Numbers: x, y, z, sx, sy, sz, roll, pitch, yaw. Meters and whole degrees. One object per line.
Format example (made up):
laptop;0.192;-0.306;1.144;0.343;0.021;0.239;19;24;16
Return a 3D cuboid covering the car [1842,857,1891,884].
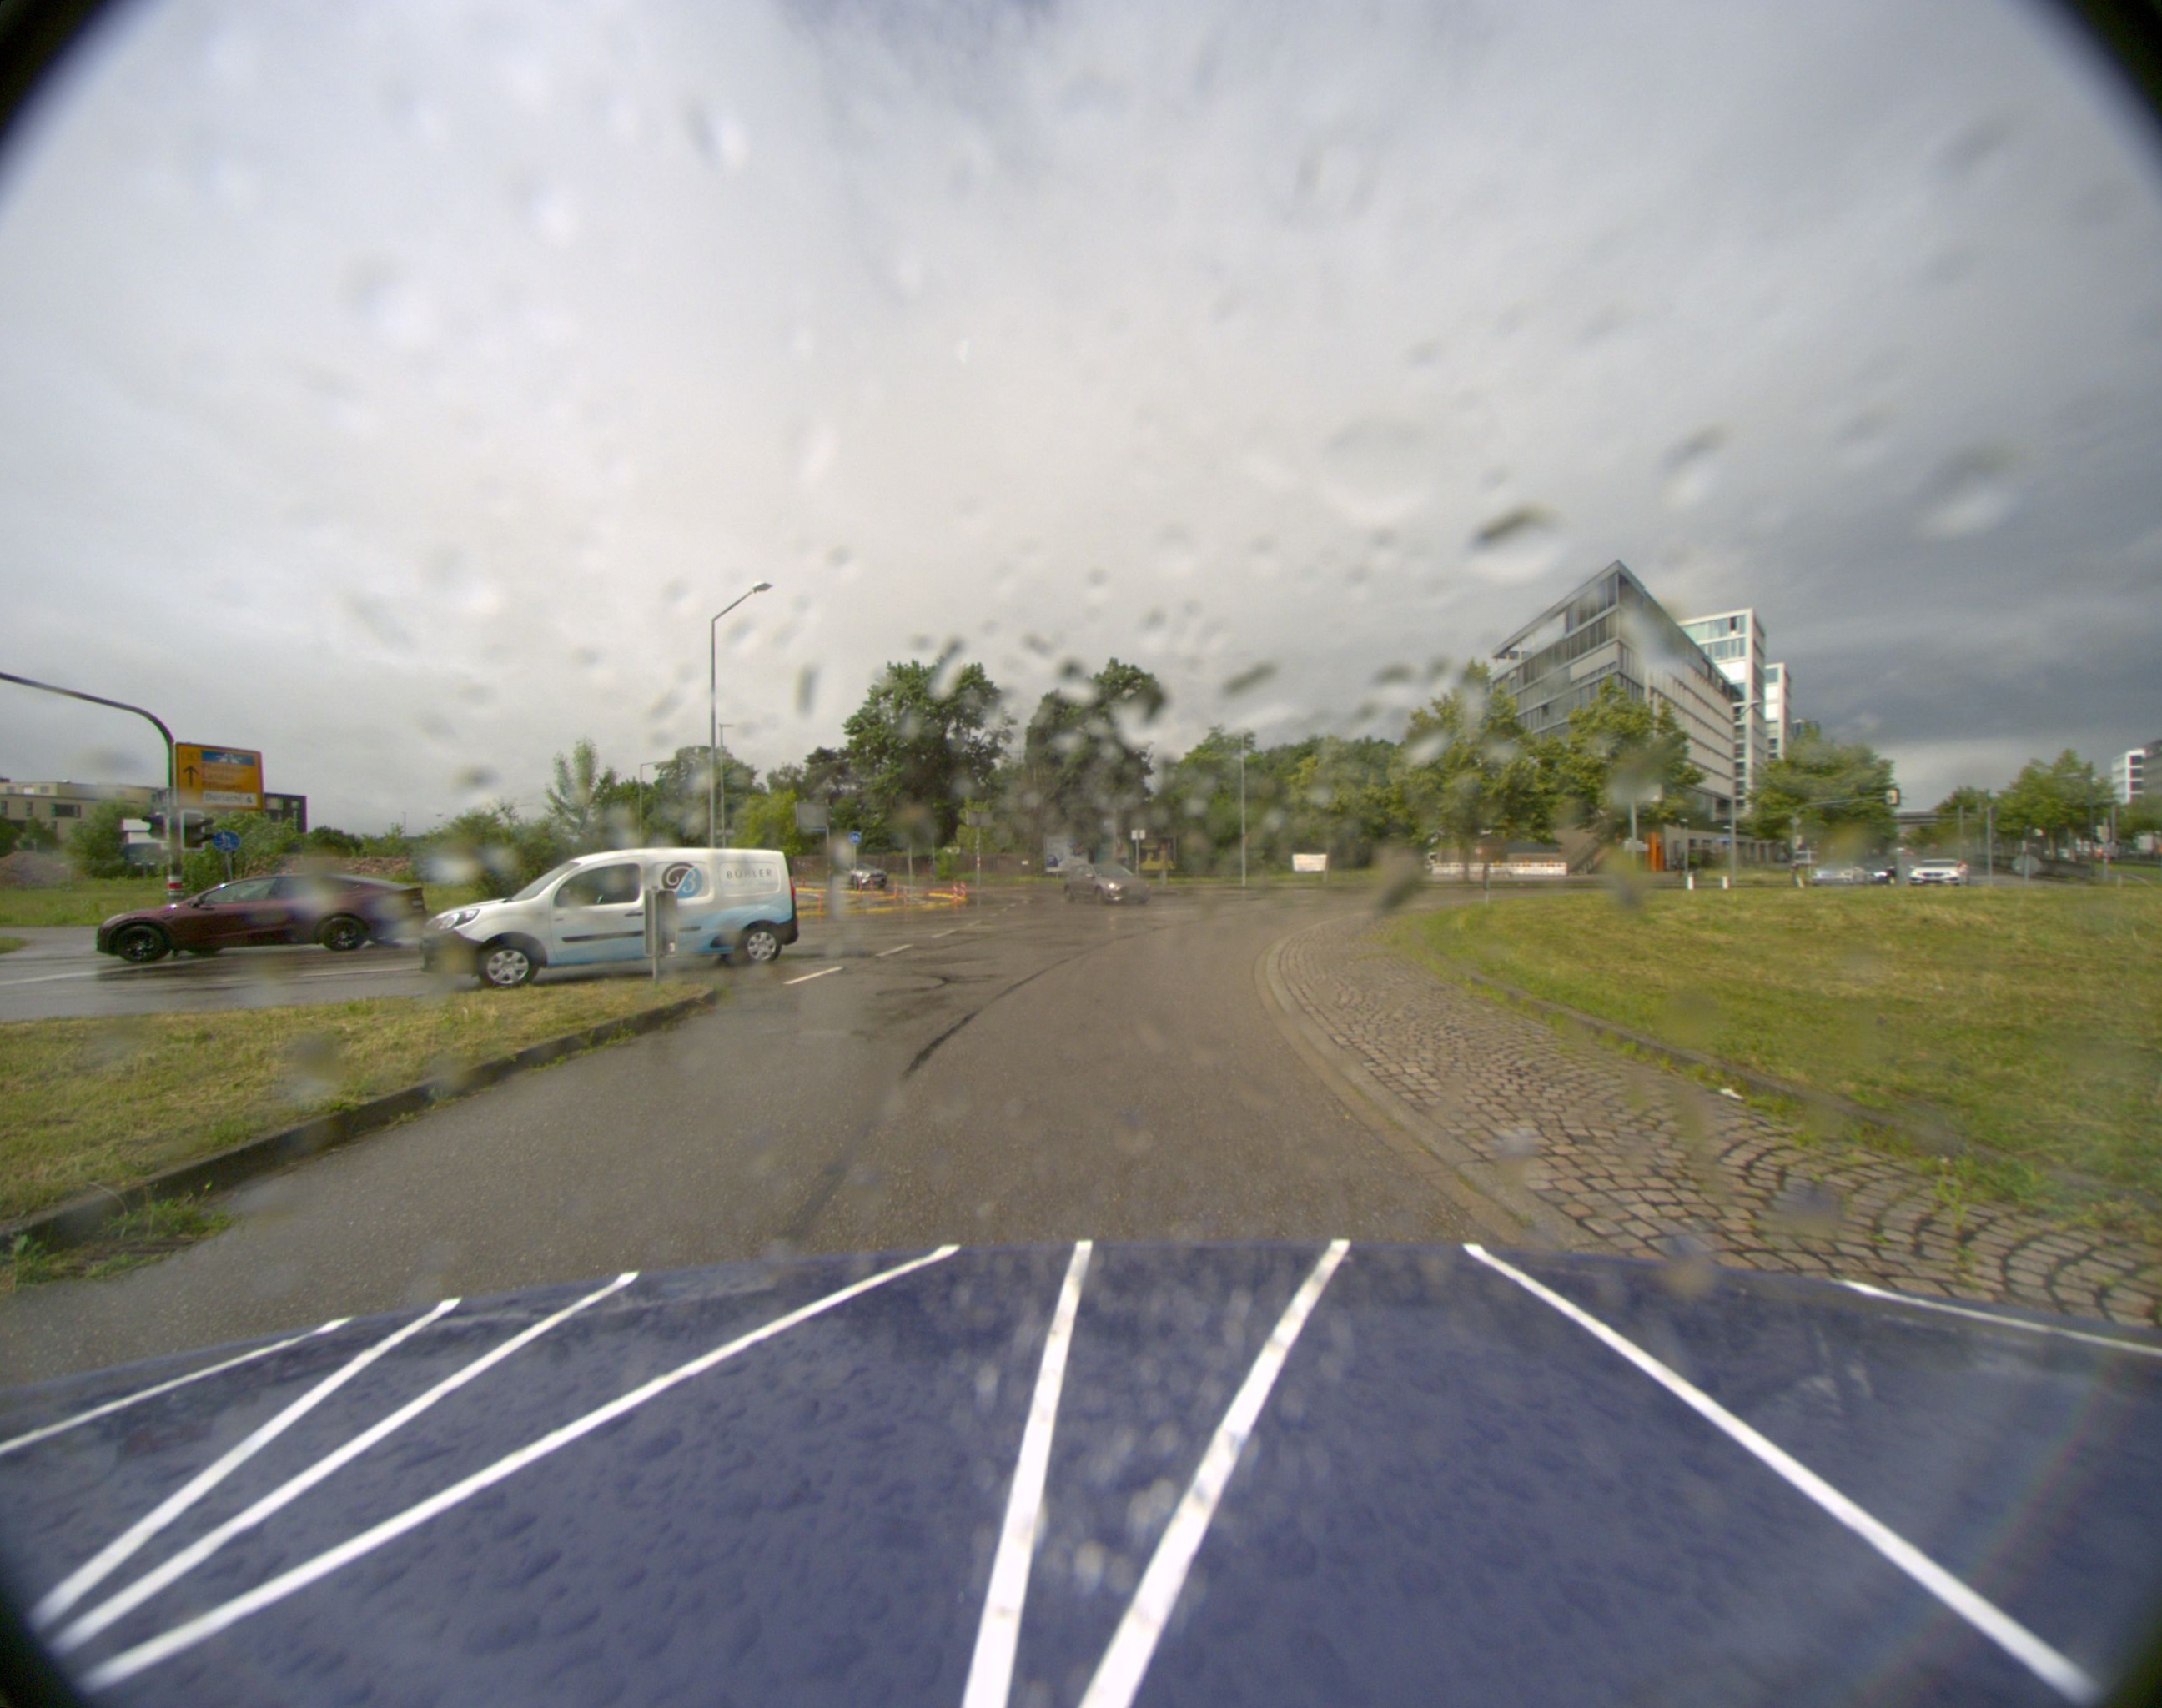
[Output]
car;52.119;1.097;50.381;4.480;1.662;1.862;1;-1;-39

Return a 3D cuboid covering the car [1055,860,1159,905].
car;0.846;0.980;27.242;1.738;1.405;4.118;-2;0;-30

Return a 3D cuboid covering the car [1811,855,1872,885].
car;44.861;0.957;44.812;4.480;1.662;1.862;1;-1;-36

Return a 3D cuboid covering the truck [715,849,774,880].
truck;-31.062;0.923;69.972;6.926;2.710;2.467;-1;0;43

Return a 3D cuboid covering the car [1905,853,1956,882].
car;46.431;0.705;41.514;3.912;1.499;1.722;0;0;-40

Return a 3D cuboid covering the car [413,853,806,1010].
car;-6.633;0.917;11.034;4.560;1.752;1.862;-1;0;-41

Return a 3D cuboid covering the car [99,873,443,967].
car;-16.434;1.266;15.782;4.504;1.647;1.872;0;-1;-23

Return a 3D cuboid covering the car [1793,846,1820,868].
car;81.629;0.366;85.487;4.480;2.345;1.861;1;-1;-41

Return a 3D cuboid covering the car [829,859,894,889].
car;-13.106;1.167;45.190;1.879;1.653;4.470;-2;1;-43
